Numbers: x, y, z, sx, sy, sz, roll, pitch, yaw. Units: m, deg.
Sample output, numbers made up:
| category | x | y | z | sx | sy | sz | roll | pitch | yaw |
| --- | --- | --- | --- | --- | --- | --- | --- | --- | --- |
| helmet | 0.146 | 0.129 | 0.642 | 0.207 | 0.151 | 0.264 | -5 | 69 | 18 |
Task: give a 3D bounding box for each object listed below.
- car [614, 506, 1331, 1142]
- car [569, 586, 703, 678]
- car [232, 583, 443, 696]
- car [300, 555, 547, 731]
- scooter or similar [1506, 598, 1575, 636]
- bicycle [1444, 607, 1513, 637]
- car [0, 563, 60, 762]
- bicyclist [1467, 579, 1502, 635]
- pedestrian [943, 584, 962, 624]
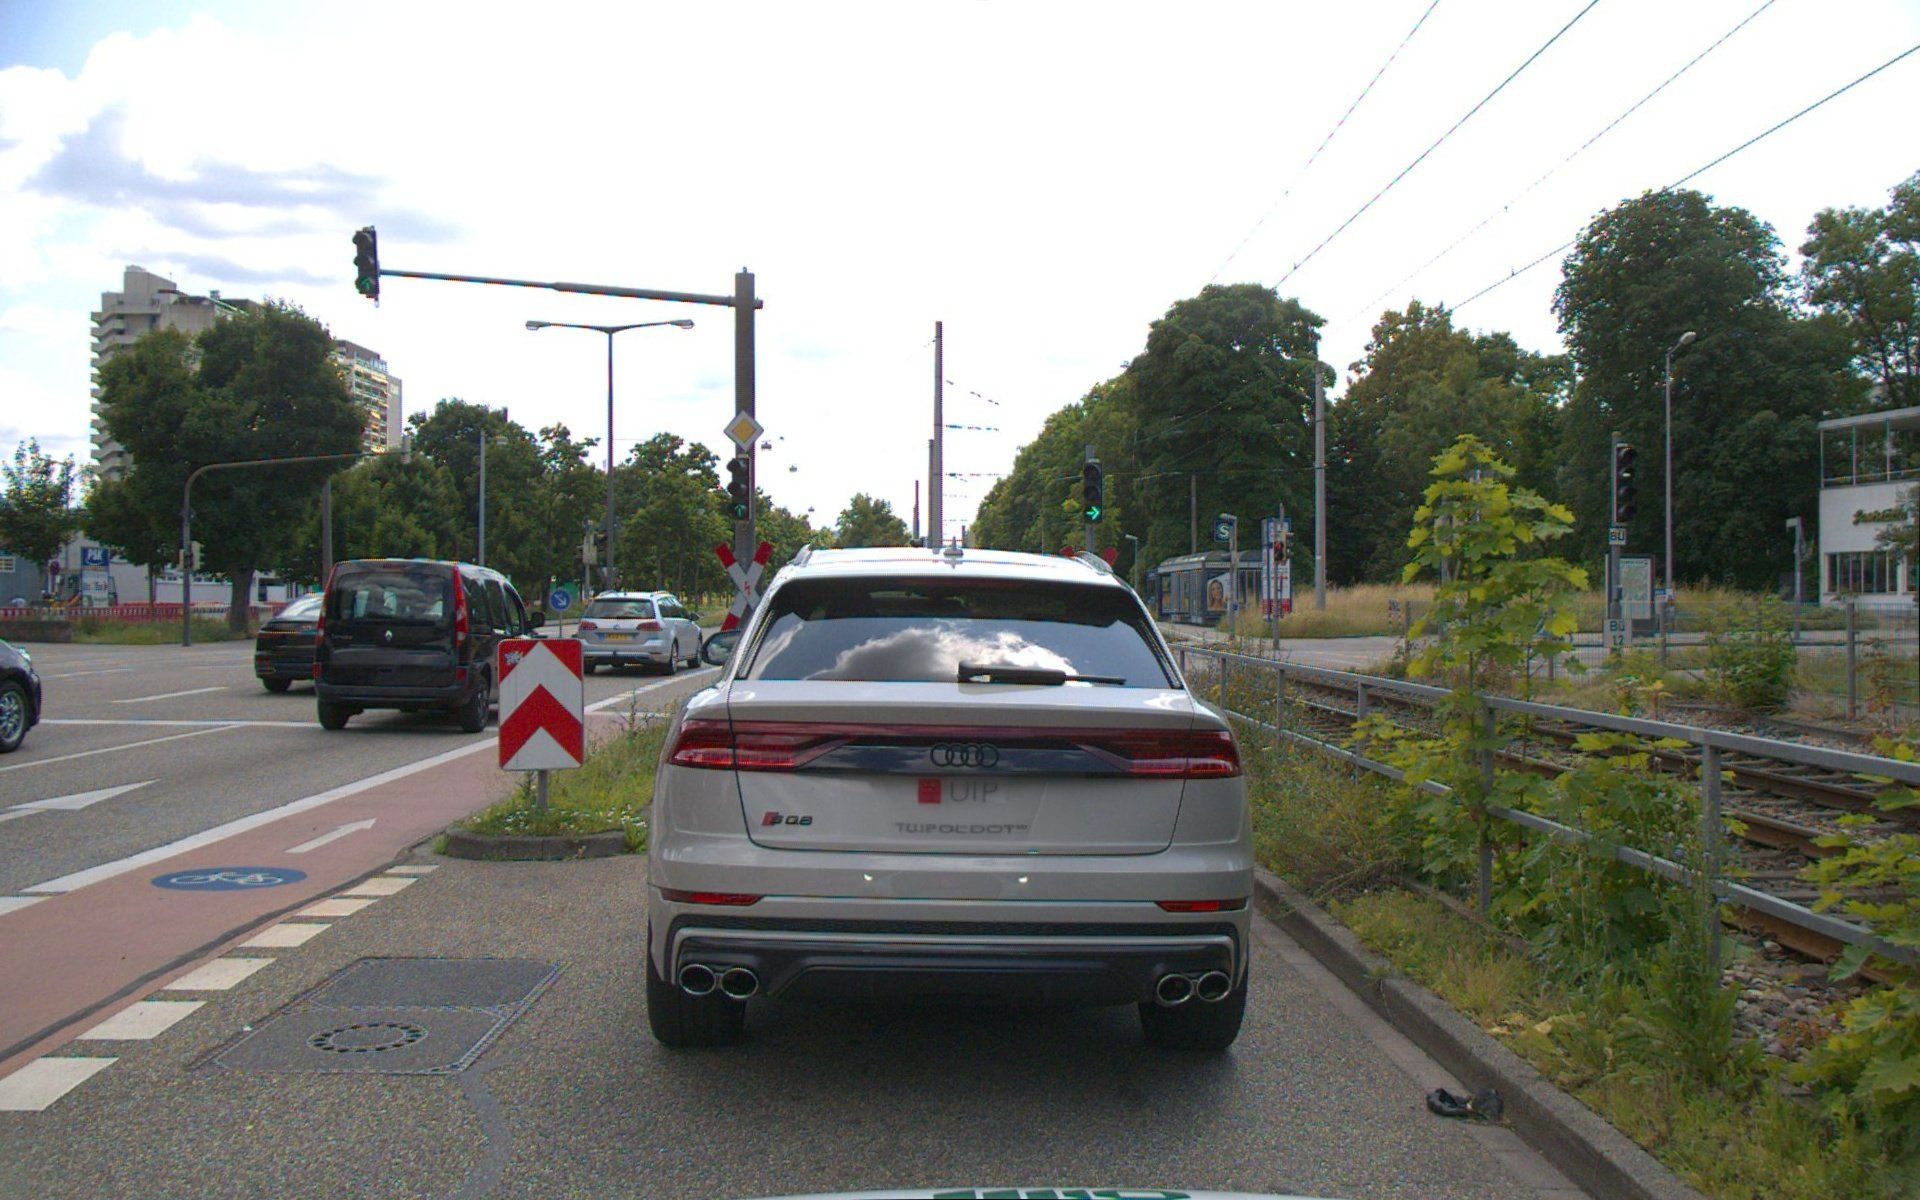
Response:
| category | x | y | z | sx | sy | sz | roll | pitch | yaw |
| --- | --- | --- | --- | --- | --- | --- | --- | --- | --- |
| car | 0.009 | 0.626 | 6.820 | 1.941 | 1.713 | 4.573 | 1 | 0 | -1 |
| car | -5.947 | 0.562 | 30.806 | 1.750 | 1.552 | 4.299 | 1 | 0 | -2 |
| car | -9.181 | 0.555 | 24.752 | 1.827 | 1.531 | 3.997 | 1 | 0 | -4 |
| car | -6.065 | 0.459 | 19.171 | 1.724 | 1.808 | 3.906 | 1 | 0 | -3 |
| scooter or similar | 15.677 | 0.465 | 44.706 | 1.542 | 0.997 | 0.962 | -1 | 0 | 1 |
| bicycle | 14.013 | 0.585 | 44.741 | 1.686 | 0.778 | 0.555 | 1 | 0 | 1 |
| car | -9.019 | 0.516 | 12.926 | 1.750 | 1.697 | 4.337 | 1 | 0 | -3 |
| bicyclist | 14.202 | 0.184 | 44.788 | 0.821 | 1.501 | 0.455 | 0 | 0 | 1 |
| pedestrian | -0.296 | 0.145 | 64.356 | 0.642 | 1.540 | 0.716 | 0 | 0 | -10 |
